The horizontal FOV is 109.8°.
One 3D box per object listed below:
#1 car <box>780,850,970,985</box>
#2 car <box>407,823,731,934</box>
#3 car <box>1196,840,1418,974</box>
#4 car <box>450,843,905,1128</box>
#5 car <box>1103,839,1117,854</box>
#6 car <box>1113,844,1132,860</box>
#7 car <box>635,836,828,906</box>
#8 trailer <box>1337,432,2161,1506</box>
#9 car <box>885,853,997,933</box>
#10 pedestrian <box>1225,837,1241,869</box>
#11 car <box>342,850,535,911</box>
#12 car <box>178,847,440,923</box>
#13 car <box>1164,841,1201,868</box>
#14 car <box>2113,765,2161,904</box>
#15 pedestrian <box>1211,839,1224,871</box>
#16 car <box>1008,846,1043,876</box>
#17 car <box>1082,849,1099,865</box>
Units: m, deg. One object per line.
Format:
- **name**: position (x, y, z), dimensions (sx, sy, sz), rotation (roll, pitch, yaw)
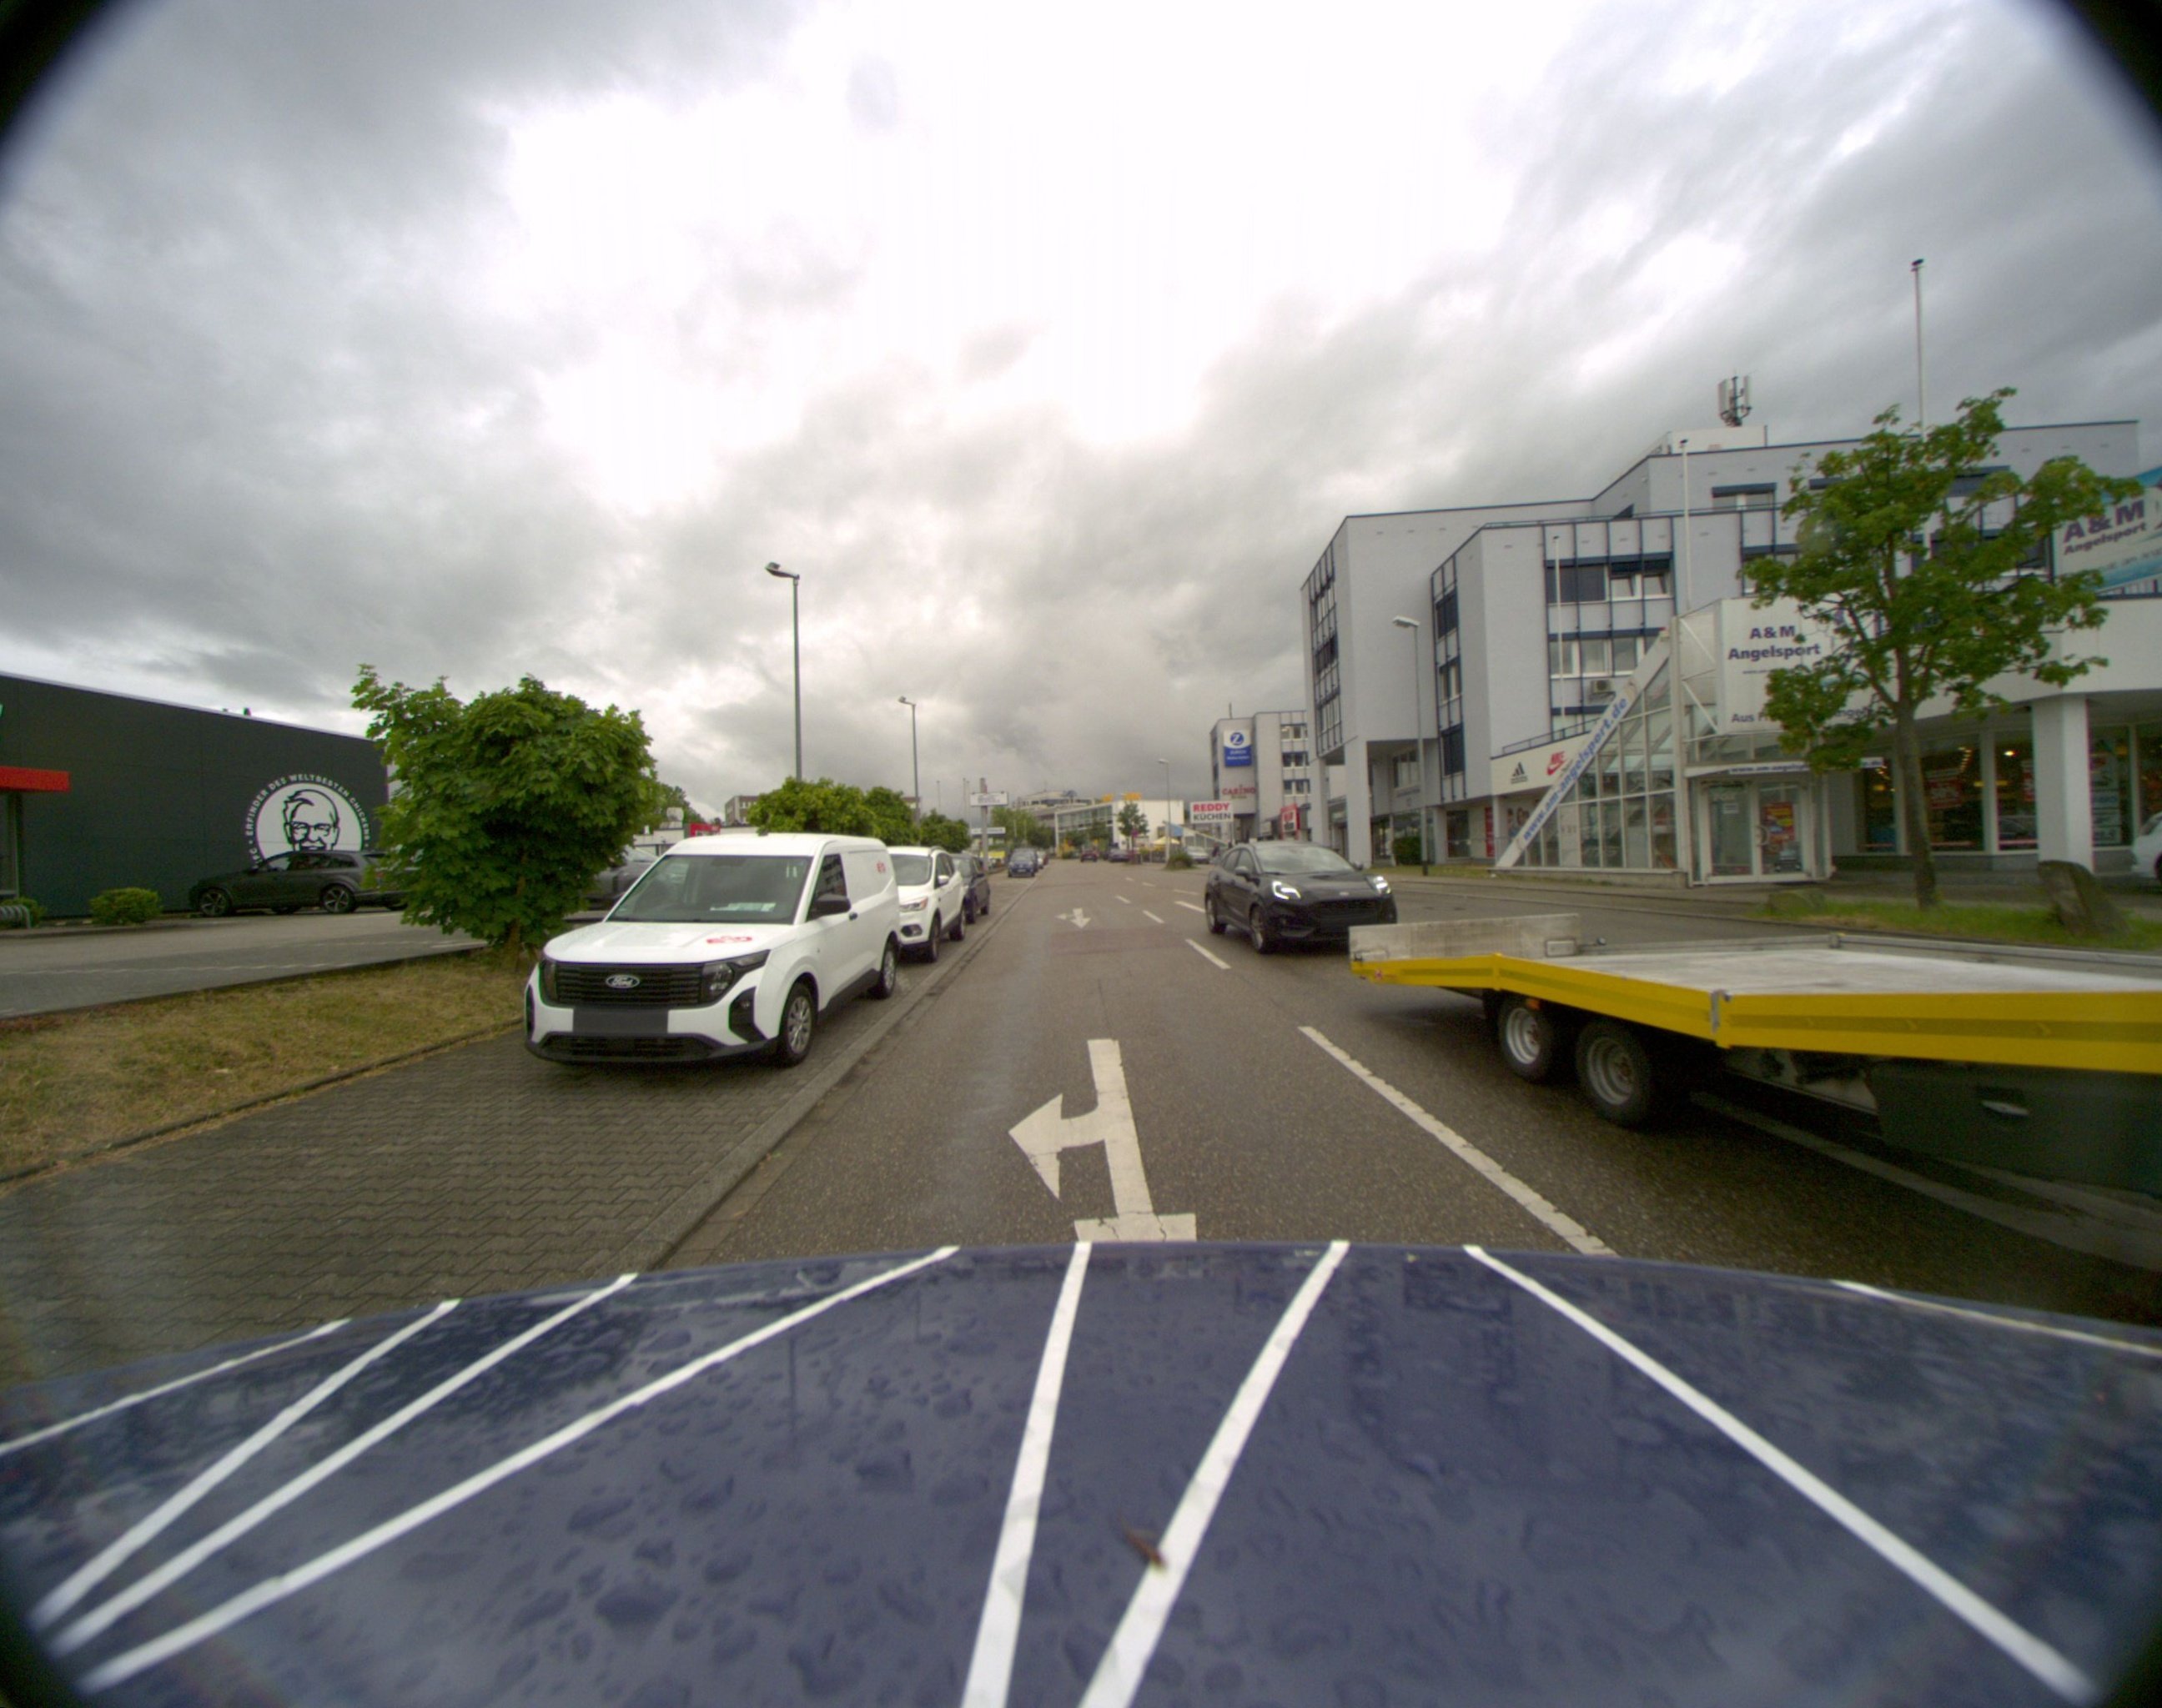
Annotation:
- **car**: position (-3.025, 0.833, 12.092), dimensions (1.822, 1.698, 3.999), rotation (-2, 1, 1)
- **car**: position (-9.147, 0.398, 13.935), dimensions (4.501, 1.730, 1.891), rotation (-2, 1, -5)
- **car**: position (3.080, 0.627, 11.303), dimensions (1.814, 1.531, 3.998), rotation (-3, 1, -4)
- **car**: position (-2.994, 0.788, 6.840), dimensions (1.797, 1.773, 4.248), rotation (0, 1, 0)
- **car**: position (3.733, -0.969, 97.247), dimensions (1.567, 1.807, 3.906), rotation (-3, 1, 1)
- **car**: position (4.498, -0.218, 82.215), dimensions (1.801, 1.663, 3.667), rotation (-3, 1, 1)
- **car**: position (-9.742, 0.448, 21.493), dimensions (4.501, 1.730, 1.891), rotation (-2, 1, -5)
- **trailer**: position (3.592, 0.231, 2.948), dimensions (2.309, 2.460, 7.969), rotation (-2, 1, -1)
- **car**: position (-3.204, 0.829, 18.174), dimensions (1.822, 1.589, 3.999), rotation (-2, 1, 1)
- **pedestrian**: position (8.392, -0.075, 42.004), dimensions (0.644, 1.733, 0.589), rotation (-2, 2, 33)
- **car**: position (-21.002, 0.832, 25.003), dimensions (4.501, 1.730, 1.891), rotation (-2, 1, -5)
- **car**: position (-20.394, 0.769, 20.262), dimensions (4.741, 1.730, 1.891), rotation (-2, 1, -5)
- **car**: position (6.457, 0.049, 48.717), dimensions (1.822, 1.601, 4.000), rotation (-2, 0, 1)
- **car**: position (16.420, -0.282, 9.039), dimensions (1.998, 2.002, 4.788), rotation (-2, 1, 5)
- **pedestrian**: position (7.226, 0.040, 40.280), dimensions (0.550, 1.698, 0.519), rotation (-3, 1, 2)
- **car**: position (-3.406, 0.423, 47.255), dimensions (1.822, 1.698, 3.999), rotation (-2, 1, 1)
- **car**: position (1.182, 0.322, 91.583), dimensions (1.901, 1.755, 3.999), rotation (-3, 1, 1)
